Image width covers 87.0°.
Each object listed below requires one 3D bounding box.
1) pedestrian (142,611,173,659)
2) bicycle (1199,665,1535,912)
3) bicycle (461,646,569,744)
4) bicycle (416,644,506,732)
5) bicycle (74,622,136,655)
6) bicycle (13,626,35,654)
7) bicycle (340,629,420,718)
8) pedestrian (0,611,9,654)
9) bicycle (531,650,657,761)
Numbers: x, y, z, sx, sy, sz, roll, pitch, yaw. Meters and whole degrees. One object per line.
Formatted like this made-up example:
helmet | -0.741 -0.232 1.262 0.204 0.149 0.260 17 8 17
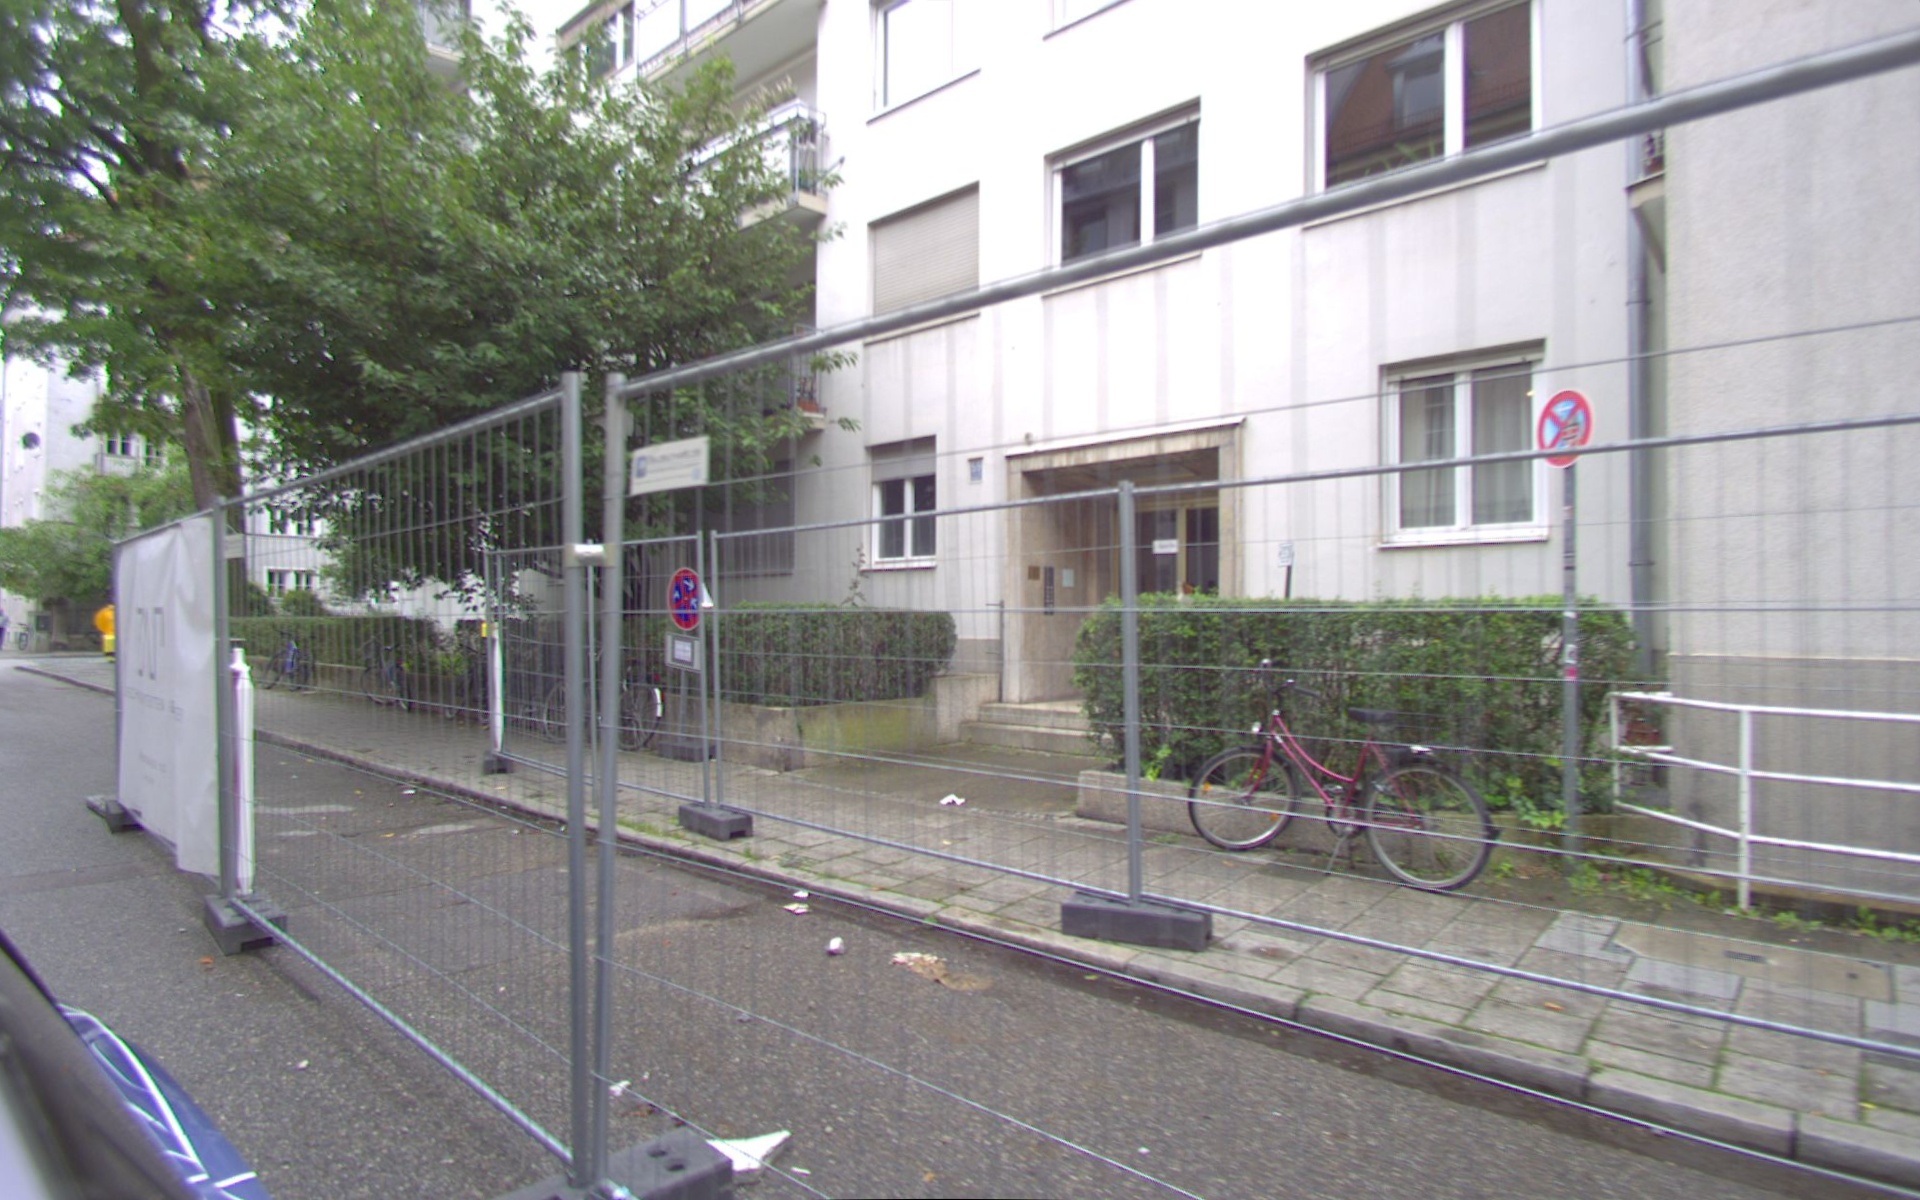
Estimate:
pedestrian | -28.844 1.251 36.353 0.858 1.690 0.683 -1 0 39
bicycle | 2.110 0.927 5.405 1.597 1.071 0.373 -1 4 42
bicycle | -5.247 1.081 11.881 1.853 0.986 0.439 0 2 43
bicycle | -6.399 1.097 12.935 1.699 0.986 0.431 0 2 43
bicycle | -33.501 1.486 39.682 0.432 1.270 1.788 -1 -2 40
bicycle | -37.730 1.614 40.777 1.701 1.103 0.426 -1 -1 40
bicycle | -8.317 1.019 14.488 1.699 1.160 0.483 0 2 43
pedestrian | -39.605 1.337 41.539 0.841 1.741 0.686 -1 2 42
bicycle | -3.872 1.065 10.621 1.816 0.986 0.439 0 2 43
